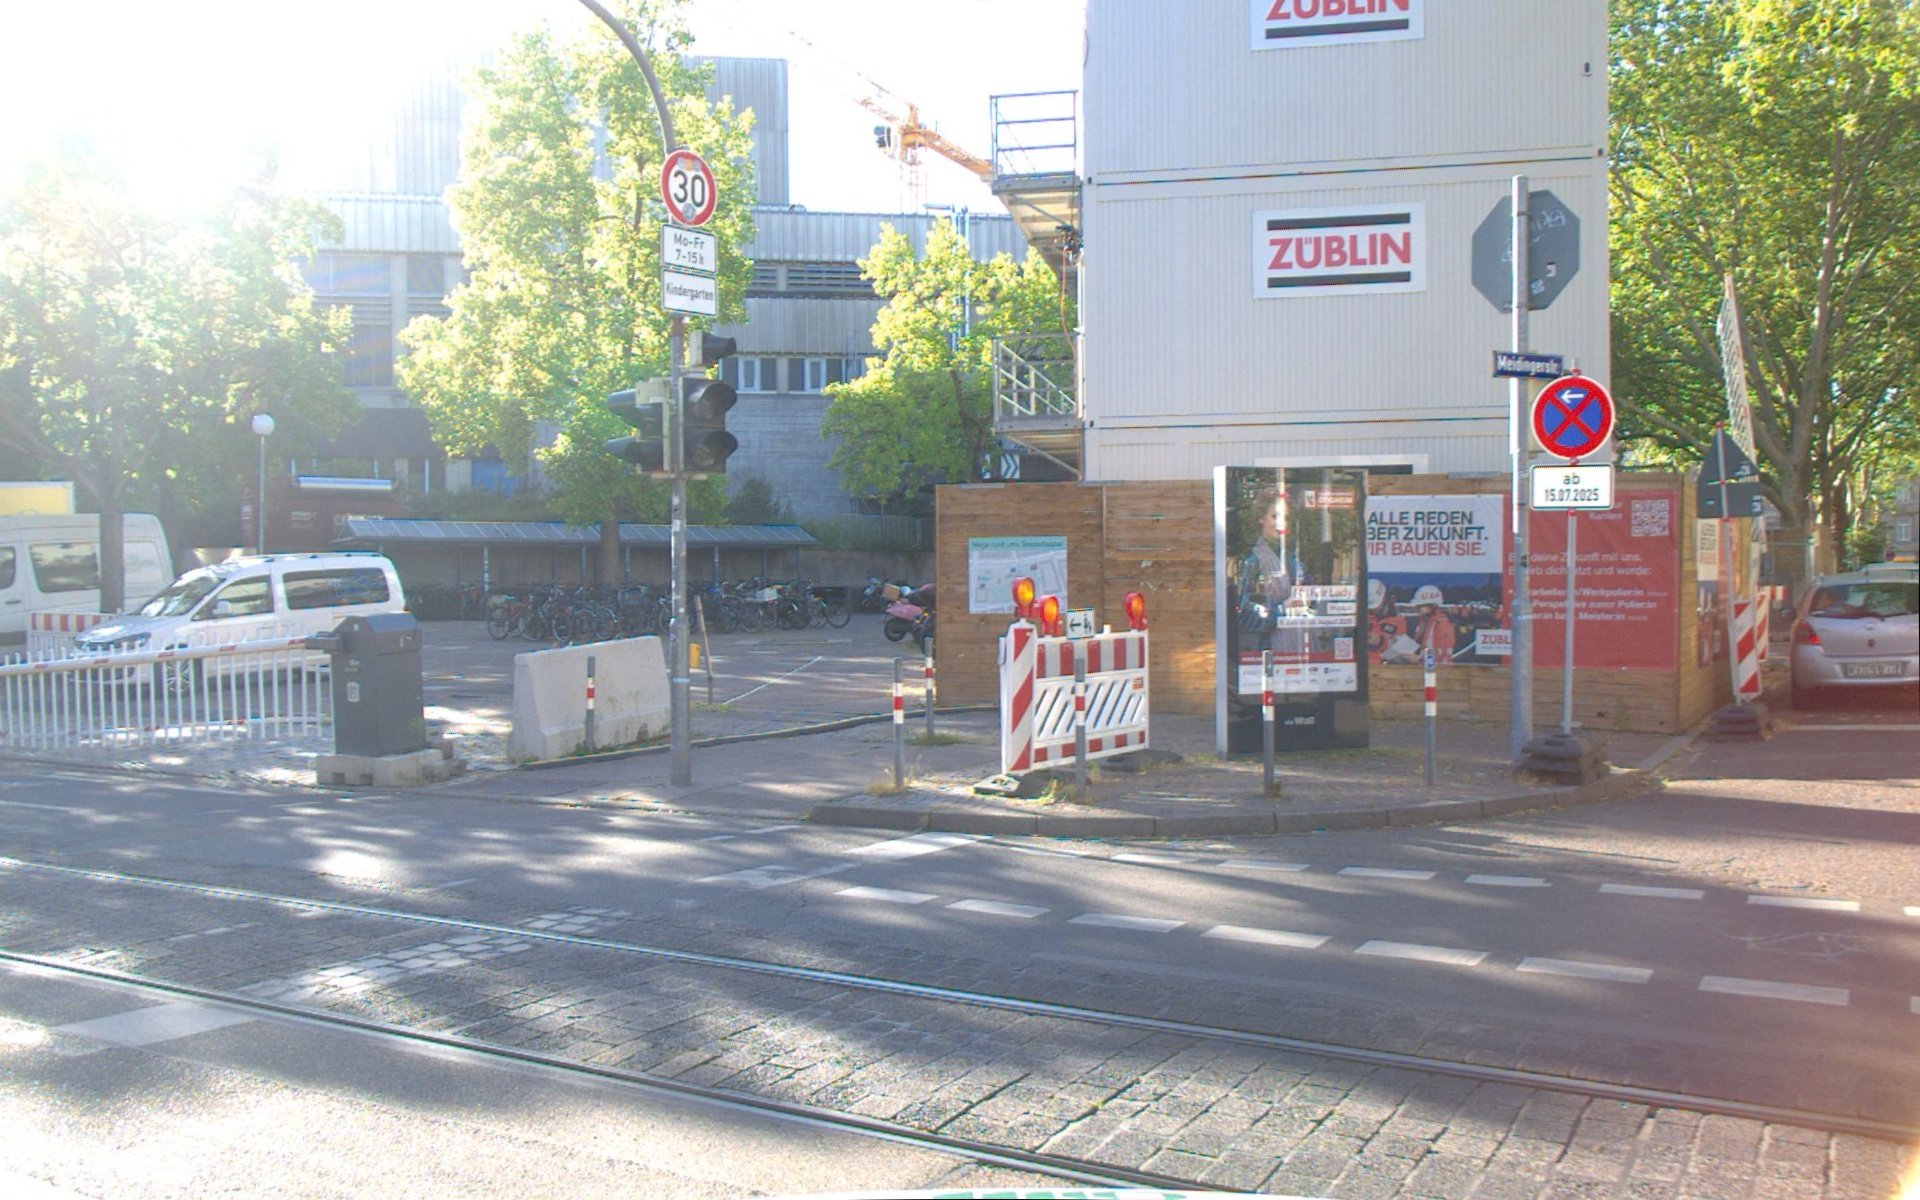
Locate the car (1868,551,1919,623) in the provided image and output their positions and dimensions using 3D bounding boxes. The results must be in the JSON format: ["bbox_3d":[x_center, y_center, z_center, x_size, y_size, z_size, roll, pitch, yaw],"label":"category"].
[{"bbox_3d":[22.123,-0.343,38.545,1.633,1.590,4.512,-1,1,29],"label":"car"}]

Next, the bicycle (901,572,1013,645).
[{"bbox_3d":[-0.058,0.153,30.462,2.004,1.279,0.542,-1,1,-7],"label":"bicycle"}]

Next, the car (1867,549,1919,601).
[{"bbox_3d":[30.036,-0.807,53.047,1.633,1.590,4.609,-1,1,29],"label":"car"}]

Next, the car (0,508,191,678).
[{"bbox_3d":[-15.682,-0.106,27.109,1.955,2.574,5.377,0,4,28],"label":"car"}]

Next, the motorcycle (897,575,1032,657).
[{"bbox_3d":[0.073,0.250,27.323,2.163,1.279,0.542,-1,1,-7],"label":"motorcycle"}]

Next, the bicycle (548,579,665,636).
[{"bbox_3d":[-7.760,0.158,36.200,3.031,1.167,0.817,0,2,40],"label":"bicycle"}]

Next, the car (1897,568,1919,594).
[{"bbox_3d":[60.668,-1.234,105.326,1.633,1.590,4.213,-1,1,29],"label":"car"}]

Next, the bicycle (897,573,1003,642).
[{"bbox_3d":[-0.194,0.129,32.246,2.004,1.279,0.542,-1,1,-7],"label":"bicycle"}]

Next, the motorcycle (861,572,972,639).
[{"bbox_3d":[-0.881,0.098,33.370,2.163,1.279,0.542,-1,1,-7],"label":"motorcycle"}]

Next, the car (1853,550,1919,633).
[{"bbox_3d":[19.119,-0.209,33.672,1.633,1.590,3.994,-1,1,29],"label":"car"}]

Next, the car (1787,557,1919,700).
[{"bbox_3d":[10.877,0.276,19.734,1.612,1.520,3.994,-3,0,29],"label":"car"}]

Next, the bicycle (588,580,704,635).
[{"bbox_3d":[-7.044,0.152,36.998,3.031,1.167,0.817,0,2,40],"label":"bicycle"}]

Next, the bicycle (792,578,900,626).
[{"bbox_3d":[-2.932,0.041,42.136,3.031,1.167,0.817,0,2,40],"label":"bicycle"}]

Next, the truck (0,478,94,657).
[{"bbox_3d":[-20.143,-0.528,30.546,2.338,3.405,7.107,0,3,31],"label":"truck"}]

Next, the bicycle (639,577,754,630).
[{"bbox_3d":[-6.112,0.075,38.248,3.031,1.167,0.817,0,2,40],"label":"bicycle"}]

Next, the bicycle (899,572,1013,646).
[{"bbox_3d":[-0.077,0.160,29.908,2.004,1.279,0.470,-1,1,-7],"label":"bicycle"}]

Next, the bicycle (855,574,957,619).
[{"bbox_3d":[-1.494,-0.097,45.415,3.031,1.167,0.817,0,2,40],"label":"bicycle"}]

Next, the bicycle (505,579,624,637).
[{"bbox_3d":[-8.460,0.166,35.292,3.031,1.167,0.817,0,2,40],"label":"bicycle"}]

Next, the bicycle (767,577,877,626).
[{"bbox_3d":[-3.474,0.034,41.375,3.031,1.167,0.817,0,2,40],"label":"bicycle"}]

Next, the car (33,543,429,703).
[{"bbox_3d":[-10.468,0.226,24.151,1.970,1.925,4.931,0,3,35],"label":"car"}]

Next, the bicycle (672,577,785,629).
[{"bbox_3d":[-5.479,0.067,39.064,3.031,1.167,0.817,0,2,40],"label":"bicycle"}]

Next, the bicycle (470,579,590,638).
[{"bbox_3d":[-8.980,0.174,34.445,3.031,1.167,0.817,0,2,40],"label":"bicycle"}]

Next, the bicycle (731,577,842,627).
[{"bbox_3d":[-4.277,0.056,40.488,3.031,1.167,0.817,0,2,40],"label":"bicycle"}]

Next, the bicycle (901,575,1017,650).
[{"bbox_3d":[-0.020,0.211,29.400,2.004,1.279,0.470,-1,1,-7],"label":"bicycle"}]

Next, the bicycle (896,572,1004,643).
[{"bbox_3d":[-0.190,0.136,31.649,2.004,1.279,0.542,-1,1,-7],"label":"bicycle"}]

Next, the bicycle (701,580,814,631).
[{"bbox_3d":[-4.887,0.119,39.733,3.031,1.167,0.817,0,2,40],"label":"bicycle"}]
